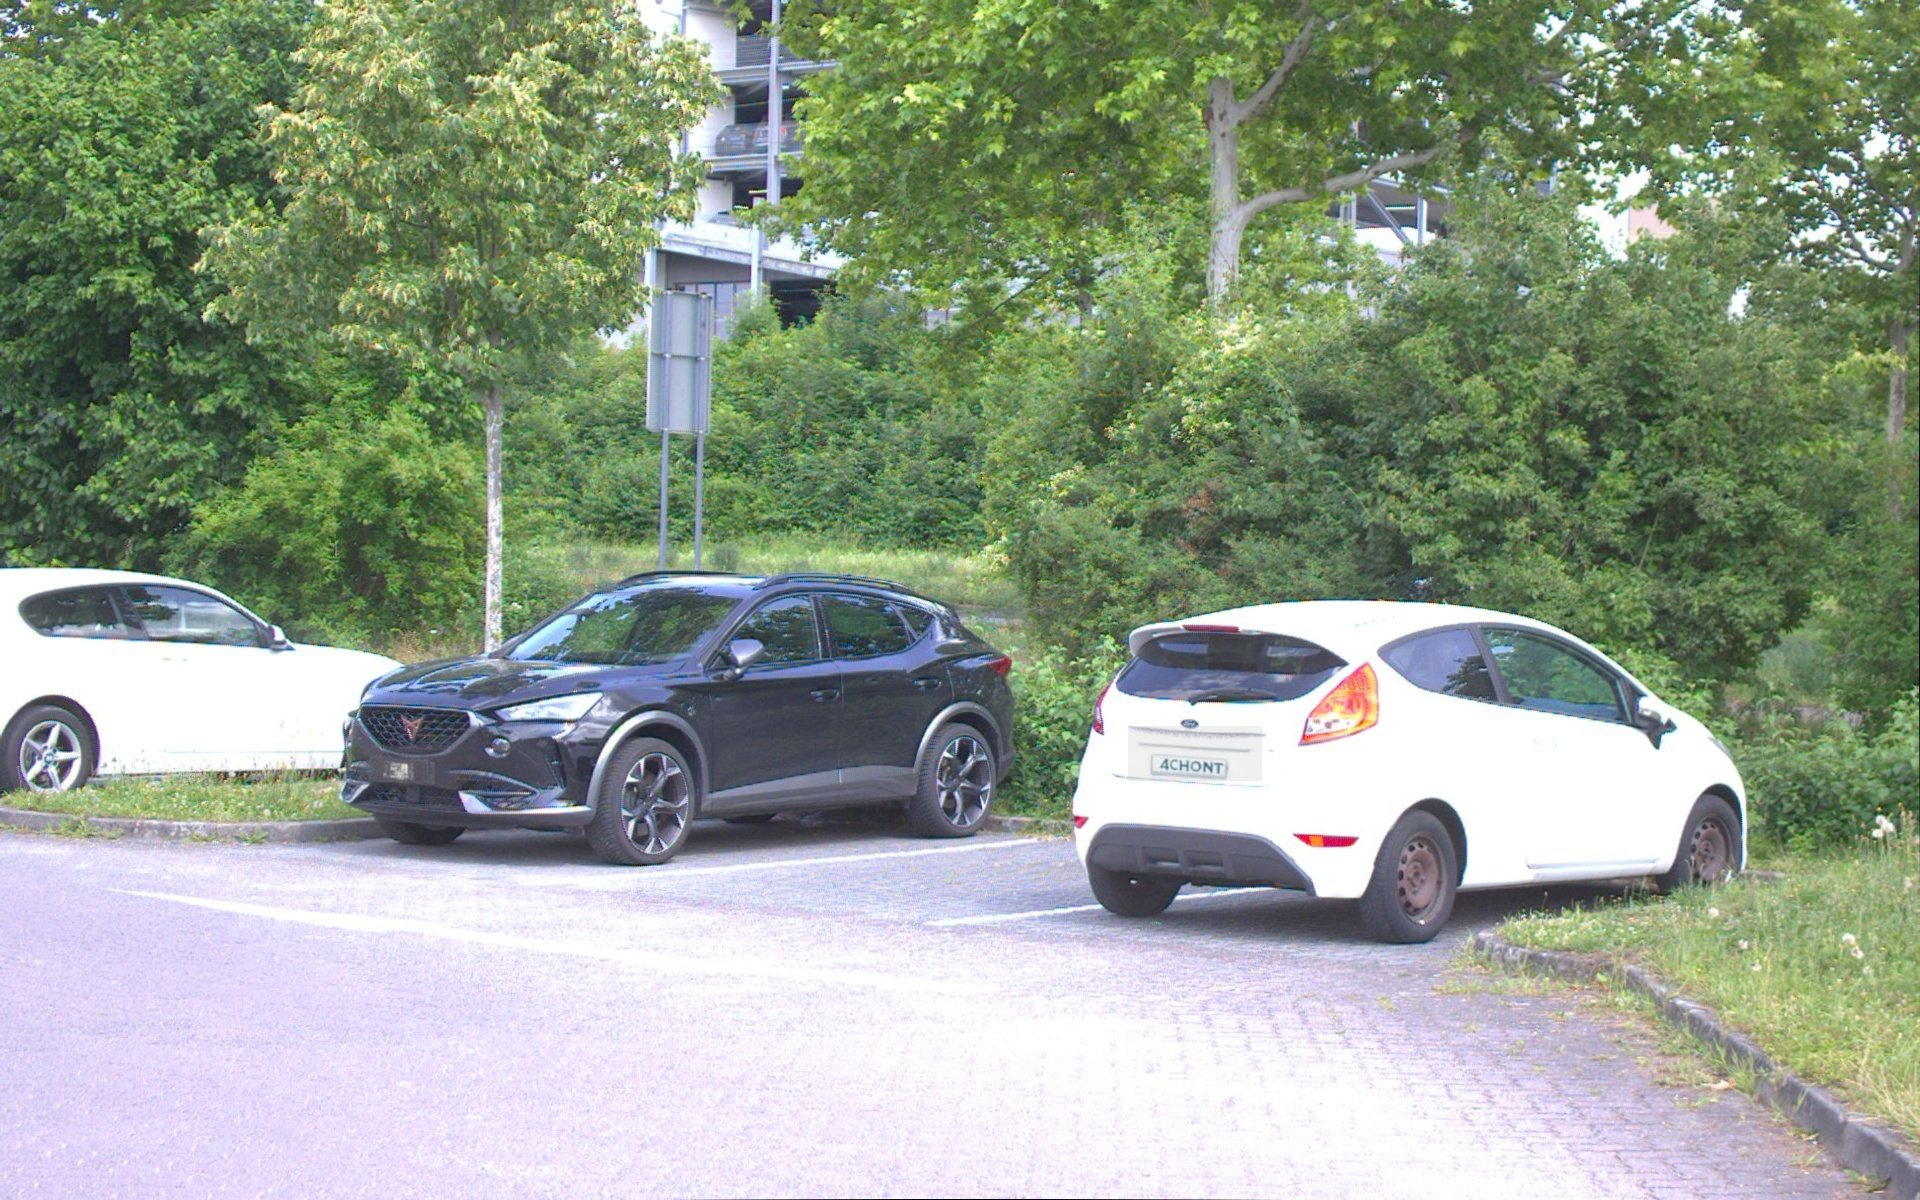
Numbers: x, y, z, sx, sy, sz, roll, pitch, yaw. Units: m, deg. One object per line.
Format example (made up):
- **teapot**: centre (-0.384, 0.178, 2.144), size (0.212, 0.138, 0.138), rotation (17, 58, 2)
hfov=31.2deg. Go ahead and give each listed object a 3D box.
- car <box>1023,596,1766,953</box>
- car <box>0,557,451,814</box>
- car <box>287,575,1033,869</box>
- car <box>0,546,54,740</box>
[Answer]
- **car**: centre (2.090, 0.712, 15.905), size (1.669, 1.407, 3.549), rotation (2, 1, 42)
- **car**: centre (-5.321, 0.484, 21.809), size (1.688, 1.504, 4.072), rotation (1, 1, 39)
- **car**: centre (-1.545, 0.590, 19.140), size (1.731, 1.405, 4.234), rotation (2, 1, 37)
- **car**: centre (-9.059, 0.304, 24.782), size (1.838, 1.446, 4.714), rotation (2, 1, 38)
